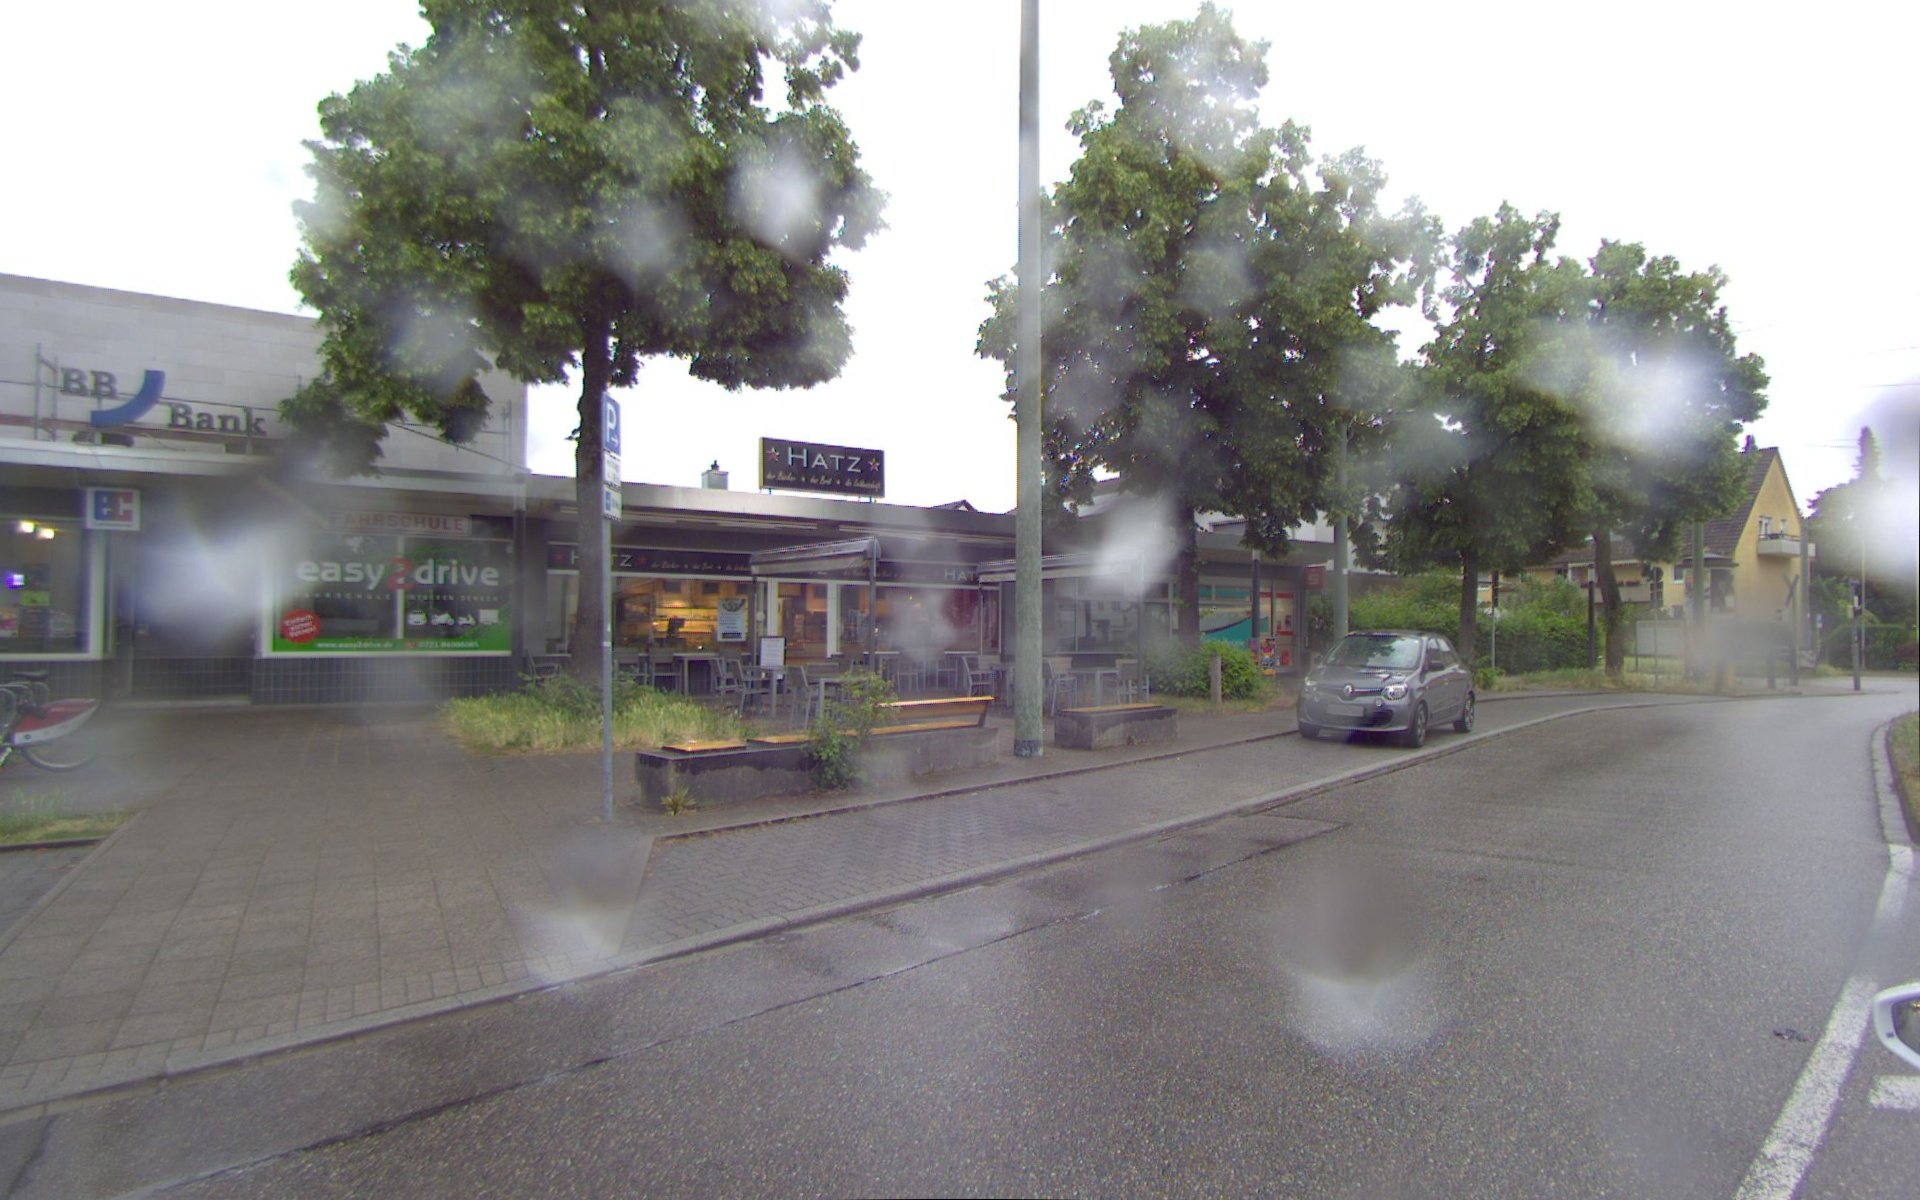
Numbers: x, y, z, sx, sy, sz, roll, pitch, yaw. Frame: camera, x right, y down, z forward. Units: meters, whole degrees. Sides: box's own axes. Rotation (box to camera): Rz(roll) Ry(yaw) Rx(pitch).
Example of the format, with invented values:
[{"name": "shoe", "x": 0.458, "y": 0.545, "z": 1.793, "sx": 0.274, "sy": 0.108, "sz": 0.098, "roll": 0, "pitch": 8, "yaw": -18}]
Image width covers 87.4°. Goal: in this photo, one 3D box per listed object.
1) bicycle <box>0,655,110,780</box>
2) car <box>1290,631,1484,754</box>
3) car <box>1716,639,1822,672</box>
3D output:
[{"name": "bicycle", "x": -9.000, "y": 1.089, "z": 9.253, "sx": 0.314, "sy": 1.122, "sz": 1.739, "roll": 2, "pitch": 0, "yaw": 43}, {"name": "car", "x": 6.380, "y": 1.245, "z": 14.822, "sx": 1.598, "sy": 1.516, "sz": 3.649, "roll": 2, "pitch": 0, "yaw": 40}, {"name": "car", "x": 41.962, "y": 2.869, "z": 52.182, "sx": 1.815, "sy": 1.476, "sz": 3.960, "roll": 2, "pitch": 0, "yaw": -35}]
